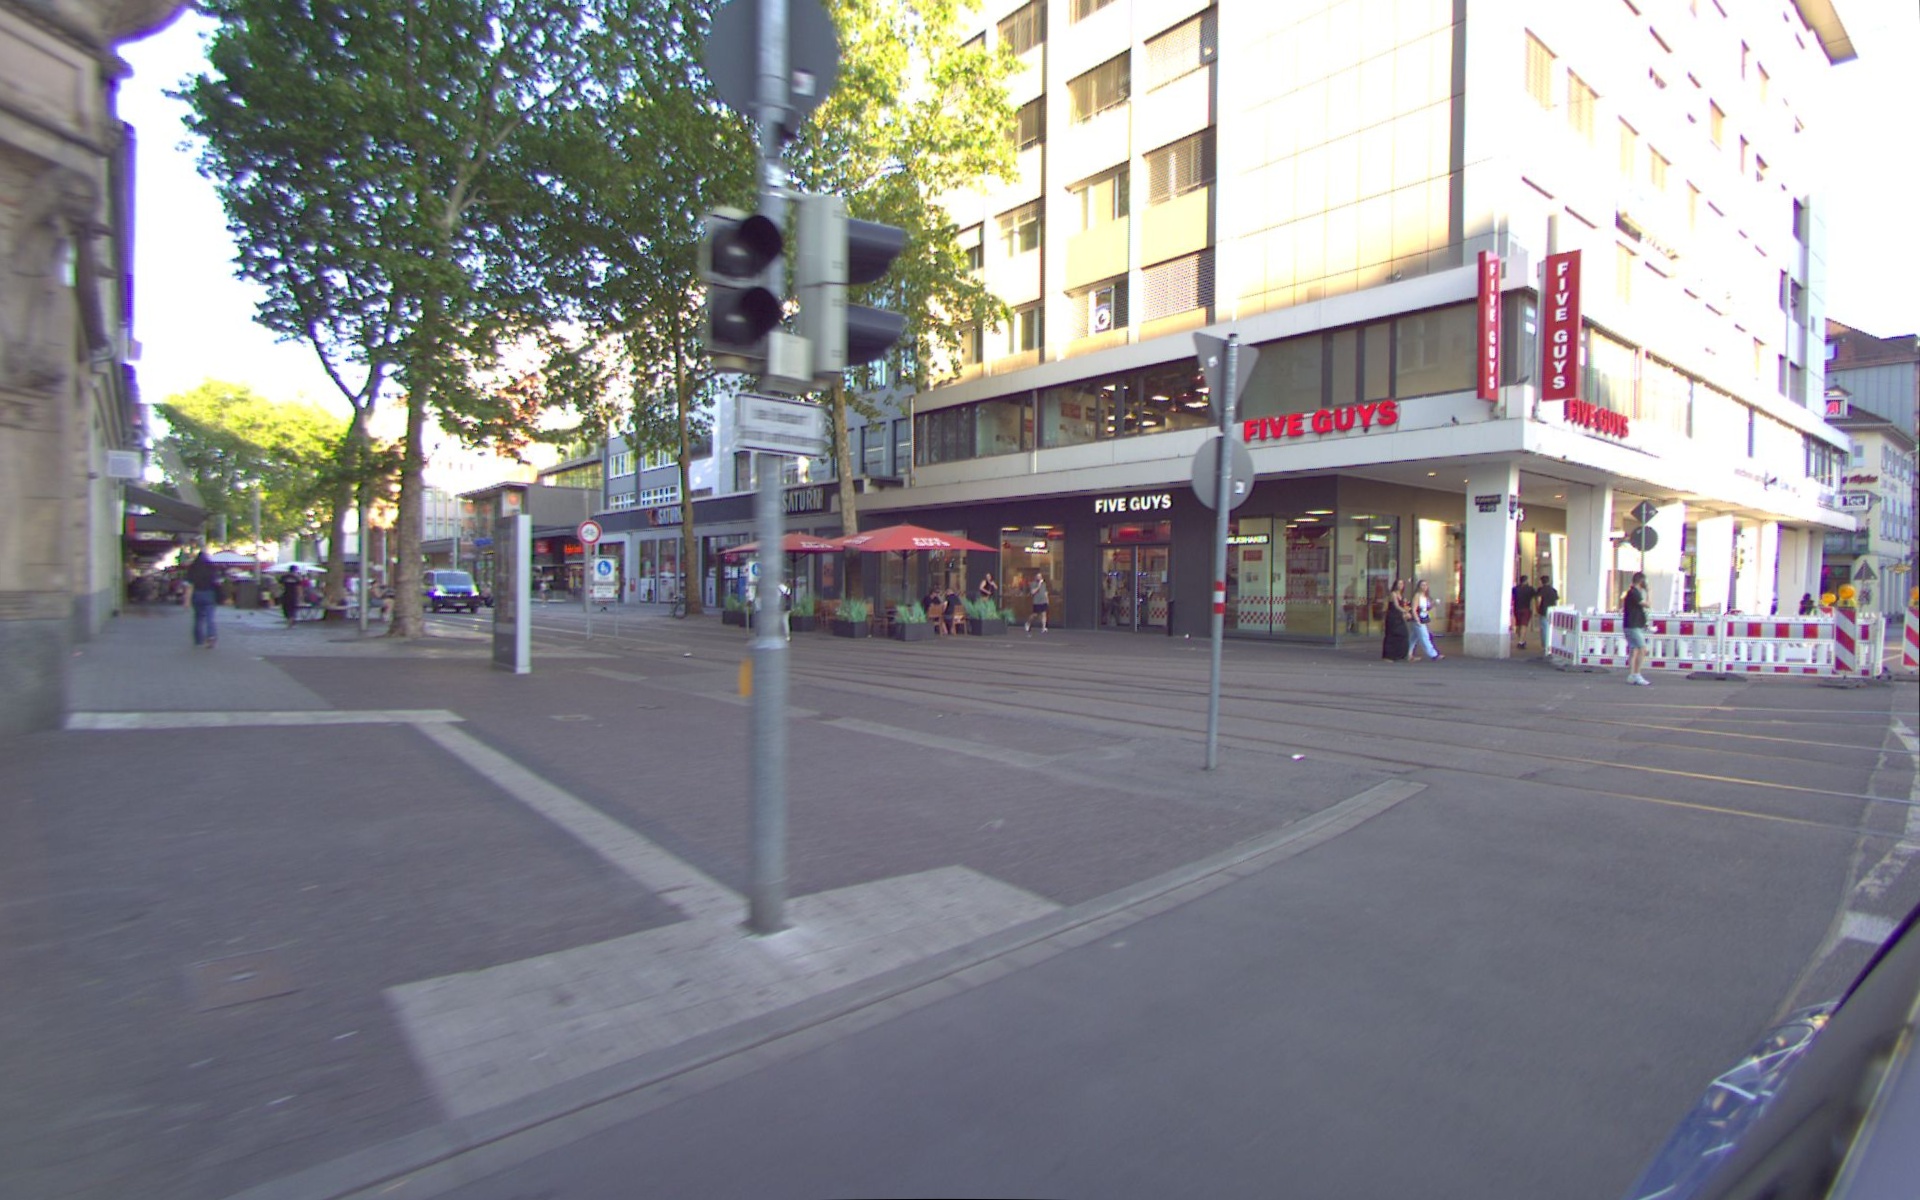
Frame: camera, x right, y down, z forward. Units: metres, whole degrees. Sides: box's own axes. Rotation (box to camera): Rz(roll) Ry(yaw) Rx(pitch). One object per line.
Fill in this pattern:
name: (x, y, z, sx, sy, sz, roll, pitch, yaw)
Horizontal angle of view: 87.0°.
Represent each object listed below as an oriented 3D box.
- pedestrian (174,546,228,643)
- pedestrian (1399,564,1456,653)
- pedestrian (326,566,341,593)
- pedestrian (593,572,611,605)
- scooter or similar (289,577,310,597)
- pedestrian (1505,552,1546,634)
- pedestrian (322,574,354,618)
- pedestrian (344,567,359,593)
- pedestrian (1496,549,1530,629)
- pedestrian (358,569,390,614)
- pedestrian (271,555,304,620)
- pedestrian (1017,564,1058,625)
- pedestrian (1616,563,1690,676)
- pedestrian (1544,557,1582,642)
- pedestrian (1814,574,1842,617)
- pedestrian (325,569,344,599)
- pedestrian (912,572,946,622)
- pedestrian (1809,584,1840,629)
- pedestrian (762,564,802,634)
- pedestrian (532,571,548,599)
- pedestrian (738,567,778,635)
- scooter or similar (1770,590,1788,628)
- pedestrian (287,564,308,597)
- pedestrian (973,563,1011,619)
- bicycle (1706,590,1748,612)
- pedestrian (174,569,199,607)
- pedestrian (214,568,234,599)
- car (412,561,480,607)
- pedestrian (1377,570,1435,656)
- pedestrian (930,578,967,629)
pedestrian: (-13.139, -0.101, 17.521, 0.701, 1.631, 0.821, 0, 0, -40)
pedestrian: (9.484, 0.158, 20.534, 0.759, 1.757, 0.789, 0, 0, -41)
pedestrian: (-41.970, -1.361, 67.834, 0.747, 1.749, 0.663, 0, 0, -41)
pedestrian: (-17.904, -0.587, 50.554, 0.651, 1.631, 0.663, 0, 0, -41)
scooter or similar: (-32.997, -0.655, 50.567, 0.772, 0.981, 0.663, -1, 0, -41)
pedestrian: (14.250, -0.174, 25.506, 0.778, 2.039, 0.510, -1, 0, 41)
pedestrian: (-20.250, -0.133, 32.960, 0.769, 1.433, 0.777, 0, 0, -41)
pedestrian: (-41.325, -1.373, 68.714, 0.747, 1.749, 0.663, 0, 0, -41)
pedestrian: (14.330, -0.272, 26.246, 0.462, 2.039, 0.707, -1, 0, 1)
pedestrian: (-18.887, -0.280, 32.616, 0.765, 1.433, 0.782, 0, 0, -41)
pedestrian: (-19.335, -0.353, 29.098, 0.701, 1.846, 0.777, 0, 0, -40)
pedestrian: (2.232, -0.157, 29.191, 0.826, 1.715, 0.840, 0, 0, -39)
pedestrian: (11.207, 0.306, 16.393, 0.710, 1.792, 0.670, -1, 0, 2)
pedestrian: (14.792, -0.018, 24.835, 0.463, 2.039, 0.706, 0, 0, -44)
pedestrian: (37.576, -0.203, 43.790, 0.835, 1.838, 0.702, 0, -1, -33)
pedestrian: (-34.548, -0.884, 55.879, 0.819, 1.631, 0.663, 0, 0, -41)
pedestrian: (-0.879, -0.088, 28.717, 0.678, 1.387, 0.643, 0, 0, -41)
pedestrian: (33.160, 0.237, 38.827, 0.691, 1.714, 0.539, -1, 0, 14)
pedestrian: (-4.600, -0.027, 26.125, 0.701, 1.757, 0.777, 0, 0, -40)
pedestrian: (-24.387, -0.866, 58.784, 0.651, 1.631, 0.663, 0, 0, -41)
pedestrian: (-5.116, 0.024, 25.624, 0.714, 1.682, 0.777, 0, 0, -41)
scooter or similar: (32.989, 0.345, 40.765, 1.292, 1.507, 0.314, 0, 1, -40)
pedestrian: (-33.432, -0.977, 51.051, 0.819, 1.631, 0.663, 0, 0, -41)
pedestrian: (0.993, -0.266, 31.465, 0.826, 1.715, 0.840, 0, 0, -39)
bicycle: (41.421, 0.057, 54.672, 1.808, 1.196, 0.773, -1, 0, -9)
pedestrian: (-33.520, -0.523, 43.848, 0.819, 1.631, 0.663, 0, 0, -41)
pedestrian: (-38.831, -0.859, 53.372, 0.819, 1.631, 0.663, 0, 0, -41)
car: (-23.990, -0.720, 47.187, 1.964, 2.039, 4.290, -1, 0, -39)
pedestrian: (8.845, 0.249, 20.087, 0.701, 1.651, 0.826, 0, 0, -40)
pedestrian: (-0.310, 0.092, 27.889, 0.678, 1.387, 0.777, 0, 0, -40)
